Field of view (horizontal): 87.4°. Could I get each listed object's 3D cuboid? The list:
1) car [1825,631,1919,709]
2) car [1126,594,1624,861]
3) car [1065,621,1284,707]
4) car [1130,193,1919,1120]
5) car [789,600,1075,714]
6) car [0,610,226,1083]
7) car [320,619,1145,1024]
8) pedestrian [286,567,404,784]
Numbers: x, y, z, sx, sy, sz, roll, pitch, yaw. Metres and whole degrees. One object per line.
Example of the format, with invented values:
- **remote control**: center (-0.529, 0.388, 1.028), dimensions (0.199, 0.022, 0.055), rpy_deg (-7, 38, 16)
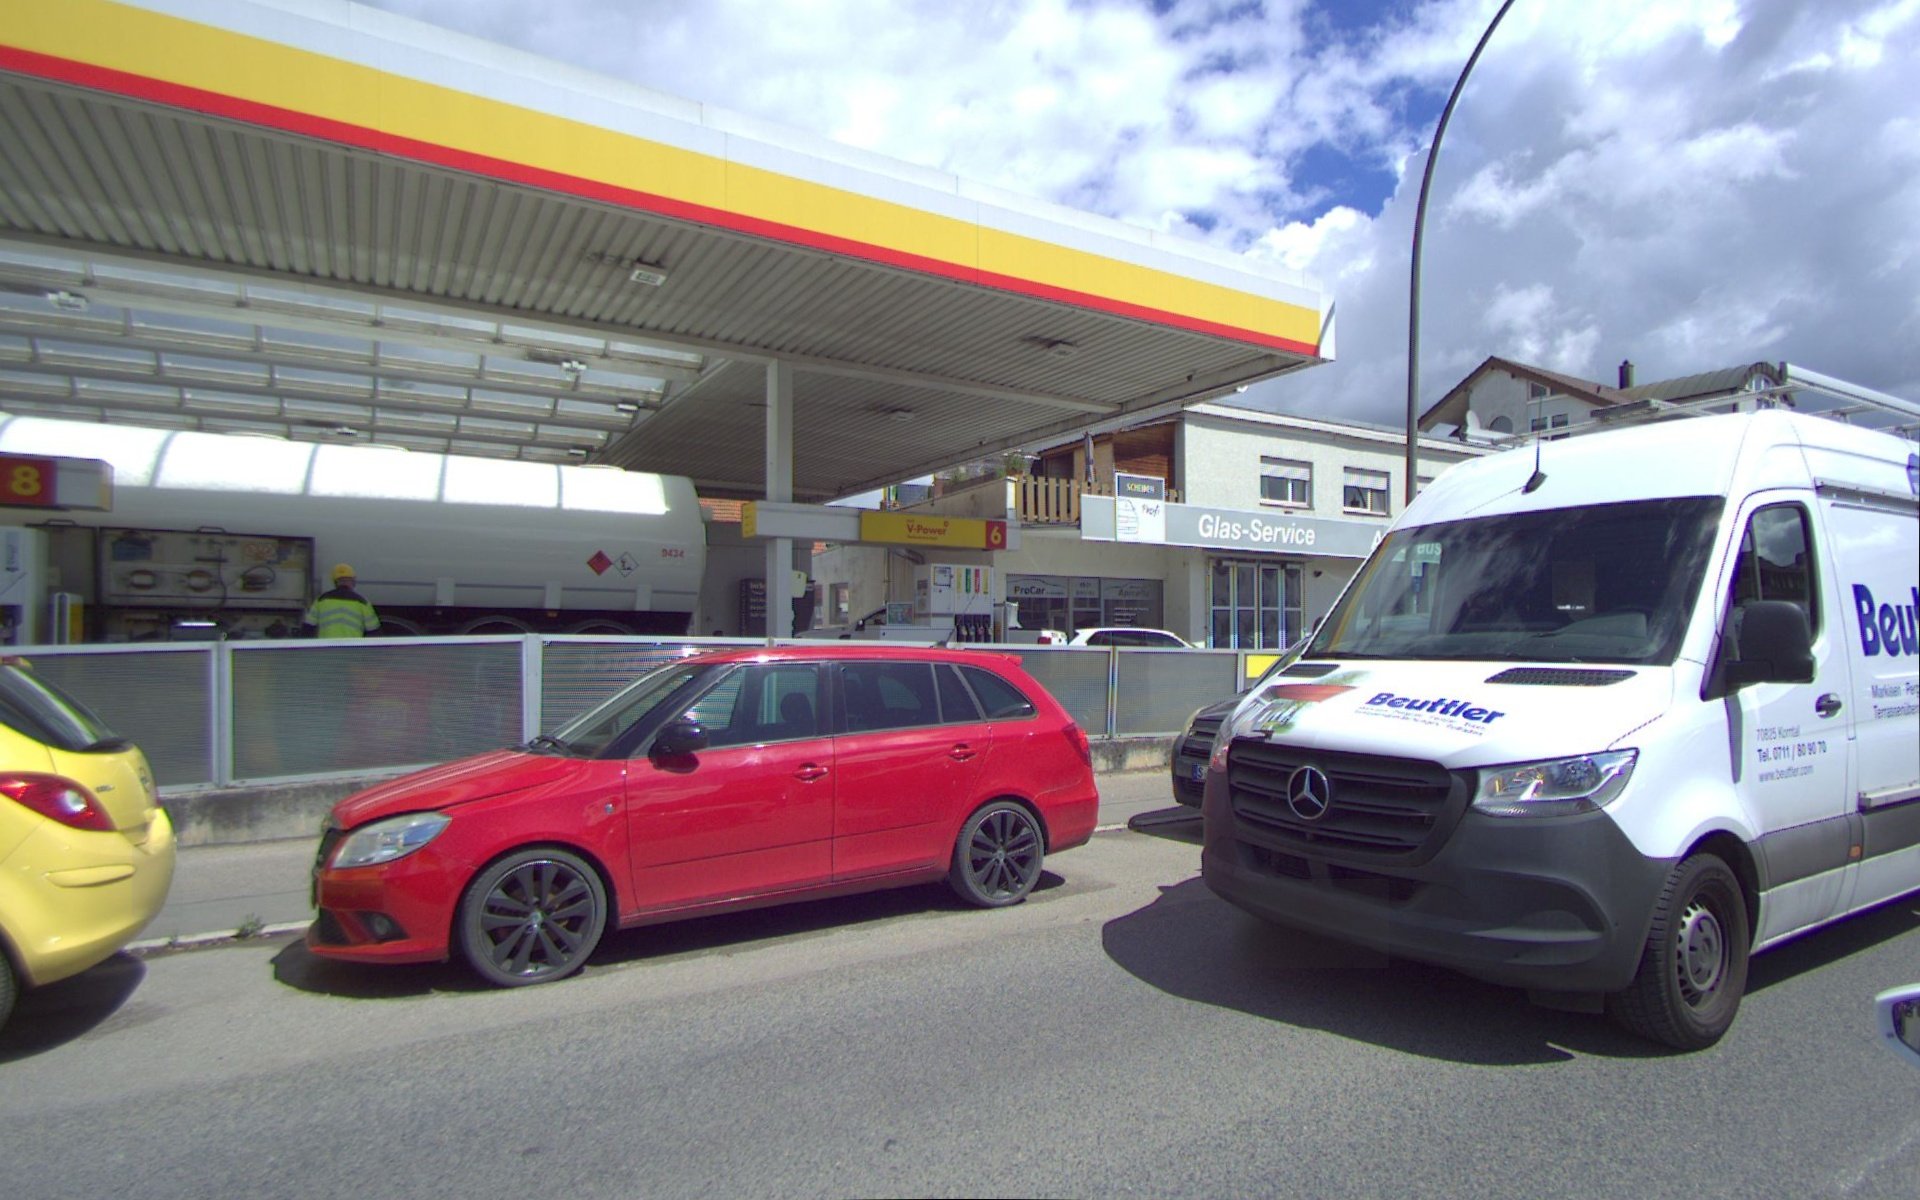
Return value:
- **car**: center (23.732, 1.709, 25.299), dimensions (4.291, 1.809, 1.782), rpy_deg (2, -2, -32)
- **car**: center (3.575, 0.965, 8.479), dimensions (4.143, 1.759, 1.721), rpy_deg (2, -6, -32)
- **car**: center (4.544, 1.377, 21.340), dimensions (4.323, 1.632, 1.978), rpy_deg (1, -5, 14)
- **car**: center (3.915, 0.269, 5.495), dimensions (6.095, 2.801, 1.983), rpy_deg (2, -4, -32)
- **car**: center (-0.484, 0.988, 18.498), dimensions (4.884, 1.877, 1.976), rpy_deg (0, -2, 18)
- **car**: center (-4.894, 0.835, 3.216), dimensions (3.899, 1.534, 1.656), rpy_deg (2, -6, -31)
- **car**: center (-1.096, 0.968, 5.659), dimensions (4.143, 1.534, 1.655), rpy_deg (2, -6, -32)
- **pedestrian**: center (-6.639, 0.777, 10.870), dimensions (1.000, 2.207, 0.933), rpy_deg (2, 0, -32)
